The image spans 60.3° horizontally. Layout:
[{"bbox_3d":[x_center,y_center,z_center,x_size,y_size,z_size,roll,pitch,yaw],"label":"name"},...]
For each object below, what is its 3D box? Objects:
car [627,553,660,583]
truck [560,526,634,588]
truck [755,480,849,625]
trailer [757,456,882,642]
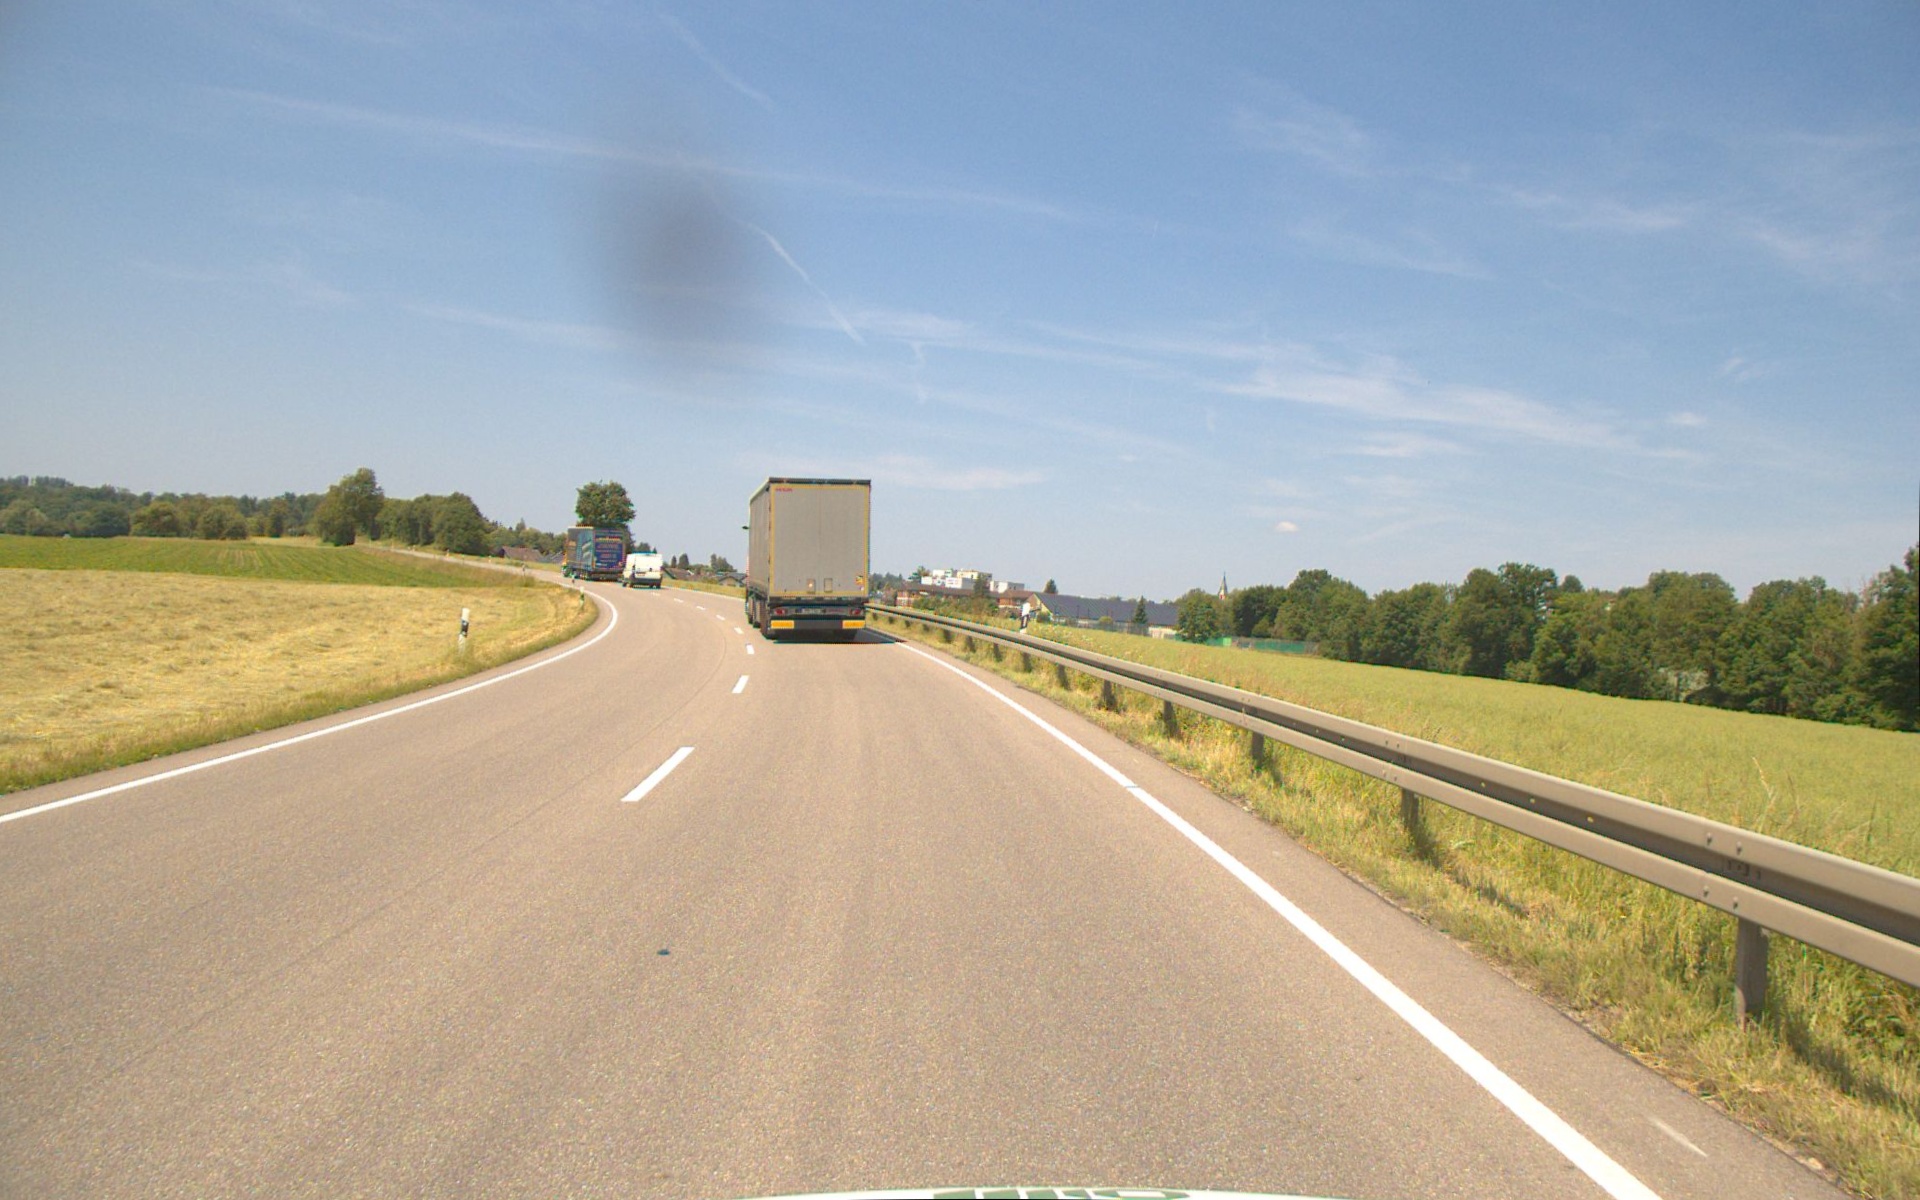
[{"bbox_3d":[-21.122,-2.129,110.230,1.698,1.905,3.982,2,1,-16],"label":"car"},{"bbox_3d":[-29.440,-3.429,133.367,3.496,4.468,18.019,3,0,-19],"label":"truck"},{"bbox_3d":[-5.183,-1.498,53.647,2.806,4.477,5.062,0,1,-8],"label":"truck"},{"bbox_3d":[-4.225,-1.365,46.883,2.813,4.477,13.470,1,1,-8],"label":"trailer"}]
